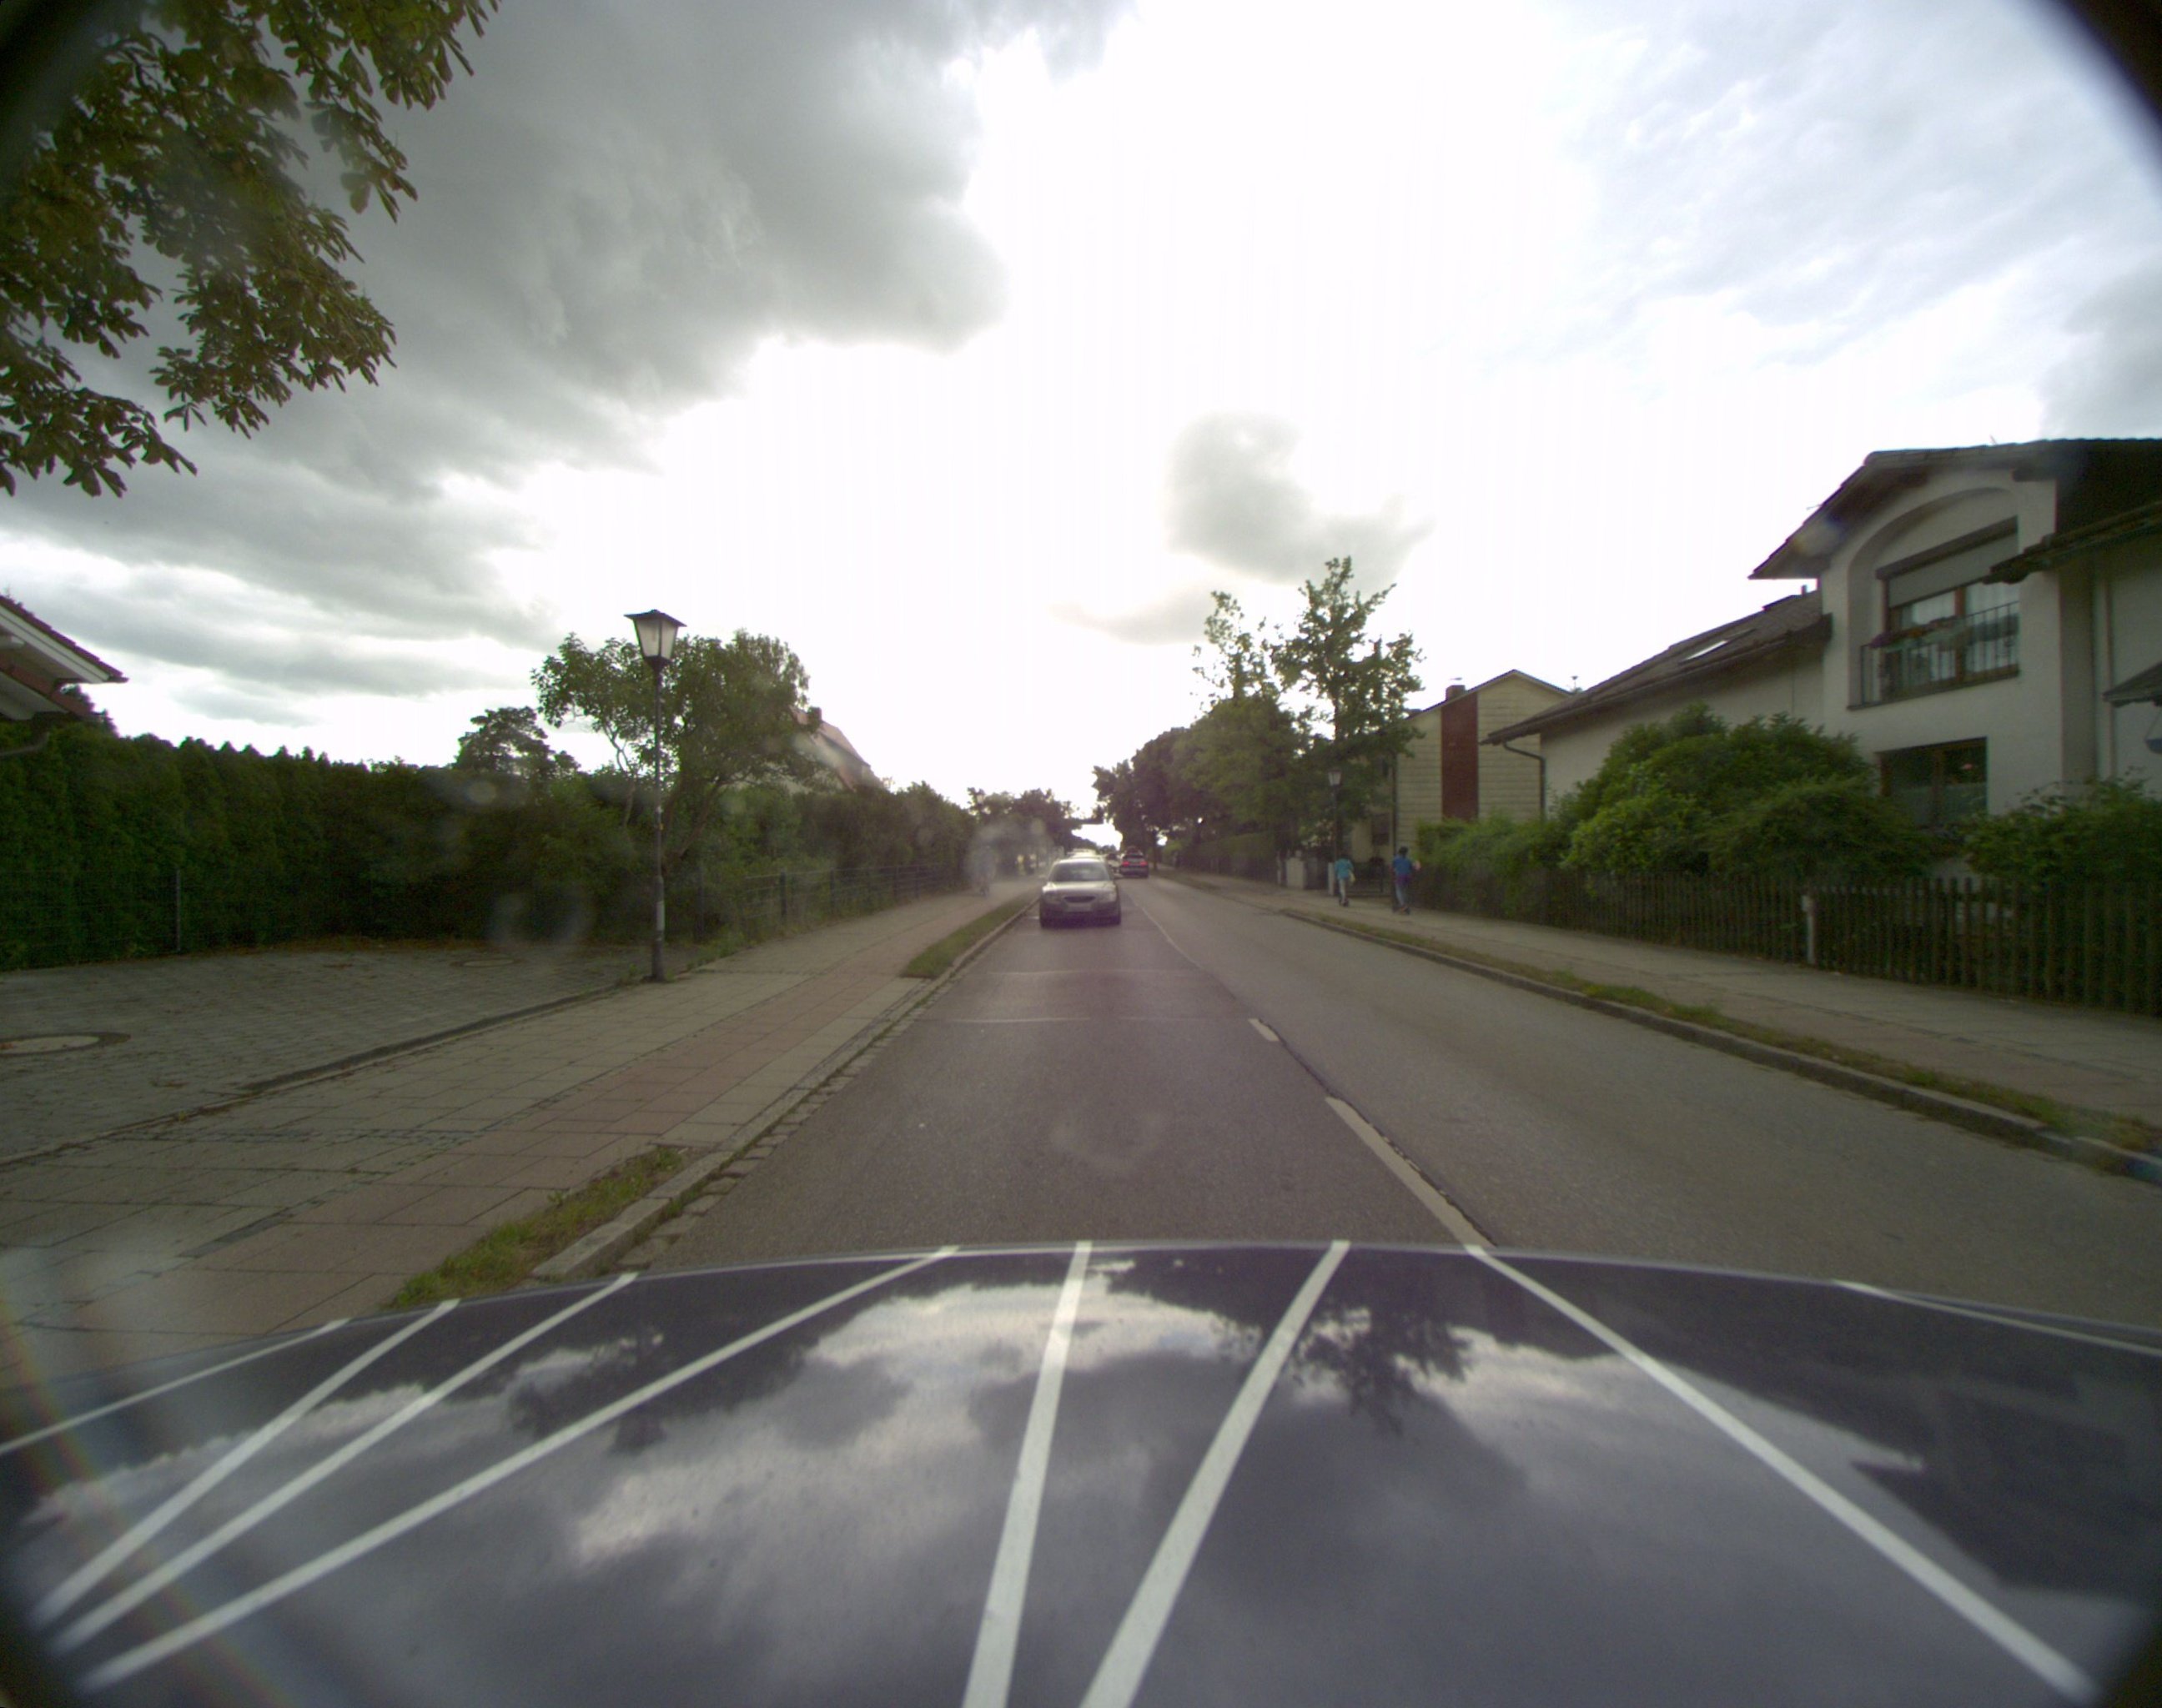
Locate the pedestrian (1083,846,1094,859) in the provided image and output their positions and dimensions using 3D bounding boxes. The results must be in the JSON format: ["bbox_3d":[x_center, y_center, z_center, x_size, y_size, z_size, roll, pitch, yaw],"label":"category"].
[{"bbox_3d":[1.210,-0.295,121.673,1.252,2.002,1.023,-1,1,25],"label":"pedestrian"}]

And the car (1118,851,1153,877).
[{"bbox_3d":[3.524,0.610,50.053,1.935,1.566,4.311,2,0,0],"label":"car"}]

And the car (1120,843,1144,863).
[{"bbox_3d":[5.818,-0.136,87.253,2.246,2.258,4.469,-1,0,-2],"label":"car"}]

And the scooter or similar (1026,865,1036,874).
[{"bbox_3d":[-3.383,1.035,51.447,0.618,0.553,0.742,-1,0,-7],"label":"scooter or similar"}]

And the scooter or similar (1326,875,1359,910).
[{"bbox_3d":[6.905,1.005,20.080,0.522,0.845,1.061,-1,0,1],"label":"scooter or similar"}]

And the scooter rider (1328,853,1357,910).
[{"bbox_3d":[6.907,0.709,20.096,0.504,1.481,0.716,-1,1,1],"label":"scooter rider"}]

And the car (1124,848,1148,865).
[{"bbox_3d":[5.845,0.215,81.122,1.999,1.739,3.999,-1,0,-2],"label":"car"}]

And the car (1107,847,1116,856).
[{"bbox_3d":[6.965,-0.555,173.181,1.969,1.842,4.947,-1,0,1],"label":"car"}]

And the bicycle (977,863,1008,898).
[{"bbox_3d":[-3.102,0.901,26.736,0.766,1.136,1.845,1,0,2],"label":"bicycle"}]

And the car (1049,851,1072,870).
[{"bbox_3d":[-1.716,0.542,64.614,1.867,1.518,4.122,-1,0,-1],"label":"car"}]

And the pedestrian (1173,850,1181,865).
[{"bbox_3d":[8.896,0.338,70.661,0.631,1.429,0.563,-1,1,0],"label":"pedestrian"}]

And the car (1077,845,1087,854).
[{"bbox_3d":[0.197,-0.927,160.642,1.998,2.002,4.000,-1,0,0],"label":"car"}]

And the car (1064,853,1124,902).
[{"bbox_3d":[0.419,0.738,26.508,1.866,1.518,4.942,-1,0,0],"label":"car"}]

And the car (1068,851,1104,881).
[{"bbox_3d":[0.268,0.608,41.463,1.866,1.518,4.122,-1,0,0],"label":"car"}]

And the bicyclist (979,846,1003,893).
[{"bbox_3d":[-3.166,0.547,26.769,0.738,1.623,0.890,0,1,1],"label":"bicyclist"}]

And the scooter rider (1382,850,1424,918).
[{"bbox_3d":[7.132,0.660,16.853,0.664,1.464,0.581,-1,1,1],"label":"scooter rider"}]

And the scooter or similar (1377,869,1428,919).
[{"bbox_3d":[7.150,0.871,16.961,0.663,1.031,1.178,-1,0,2],"label":"scooter or similar"}]

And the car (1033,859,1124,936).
[{"bbox_3d":[-0.040,0.886,17.490,1.809,1.476,4.270,-1,0,0],"label":"car"}]

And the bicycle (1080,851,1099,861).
[{"bbox_3d":[1.412,0.290,121.518,2.911,1.541,0.941,-1,1,23],"label":"bicycle"}]

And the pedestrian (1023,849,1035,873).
[{"bbox_3d":[-3.550,0.474,52.100,0.793,1.593,0.671,-1,1,-2],"label":"pedestrian"}]

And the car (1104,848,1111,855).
[{"bbox_3d":[7.144,-0.593,204.756,1.904,1.873,5.010,-1,0,1],"label":"car"}]
